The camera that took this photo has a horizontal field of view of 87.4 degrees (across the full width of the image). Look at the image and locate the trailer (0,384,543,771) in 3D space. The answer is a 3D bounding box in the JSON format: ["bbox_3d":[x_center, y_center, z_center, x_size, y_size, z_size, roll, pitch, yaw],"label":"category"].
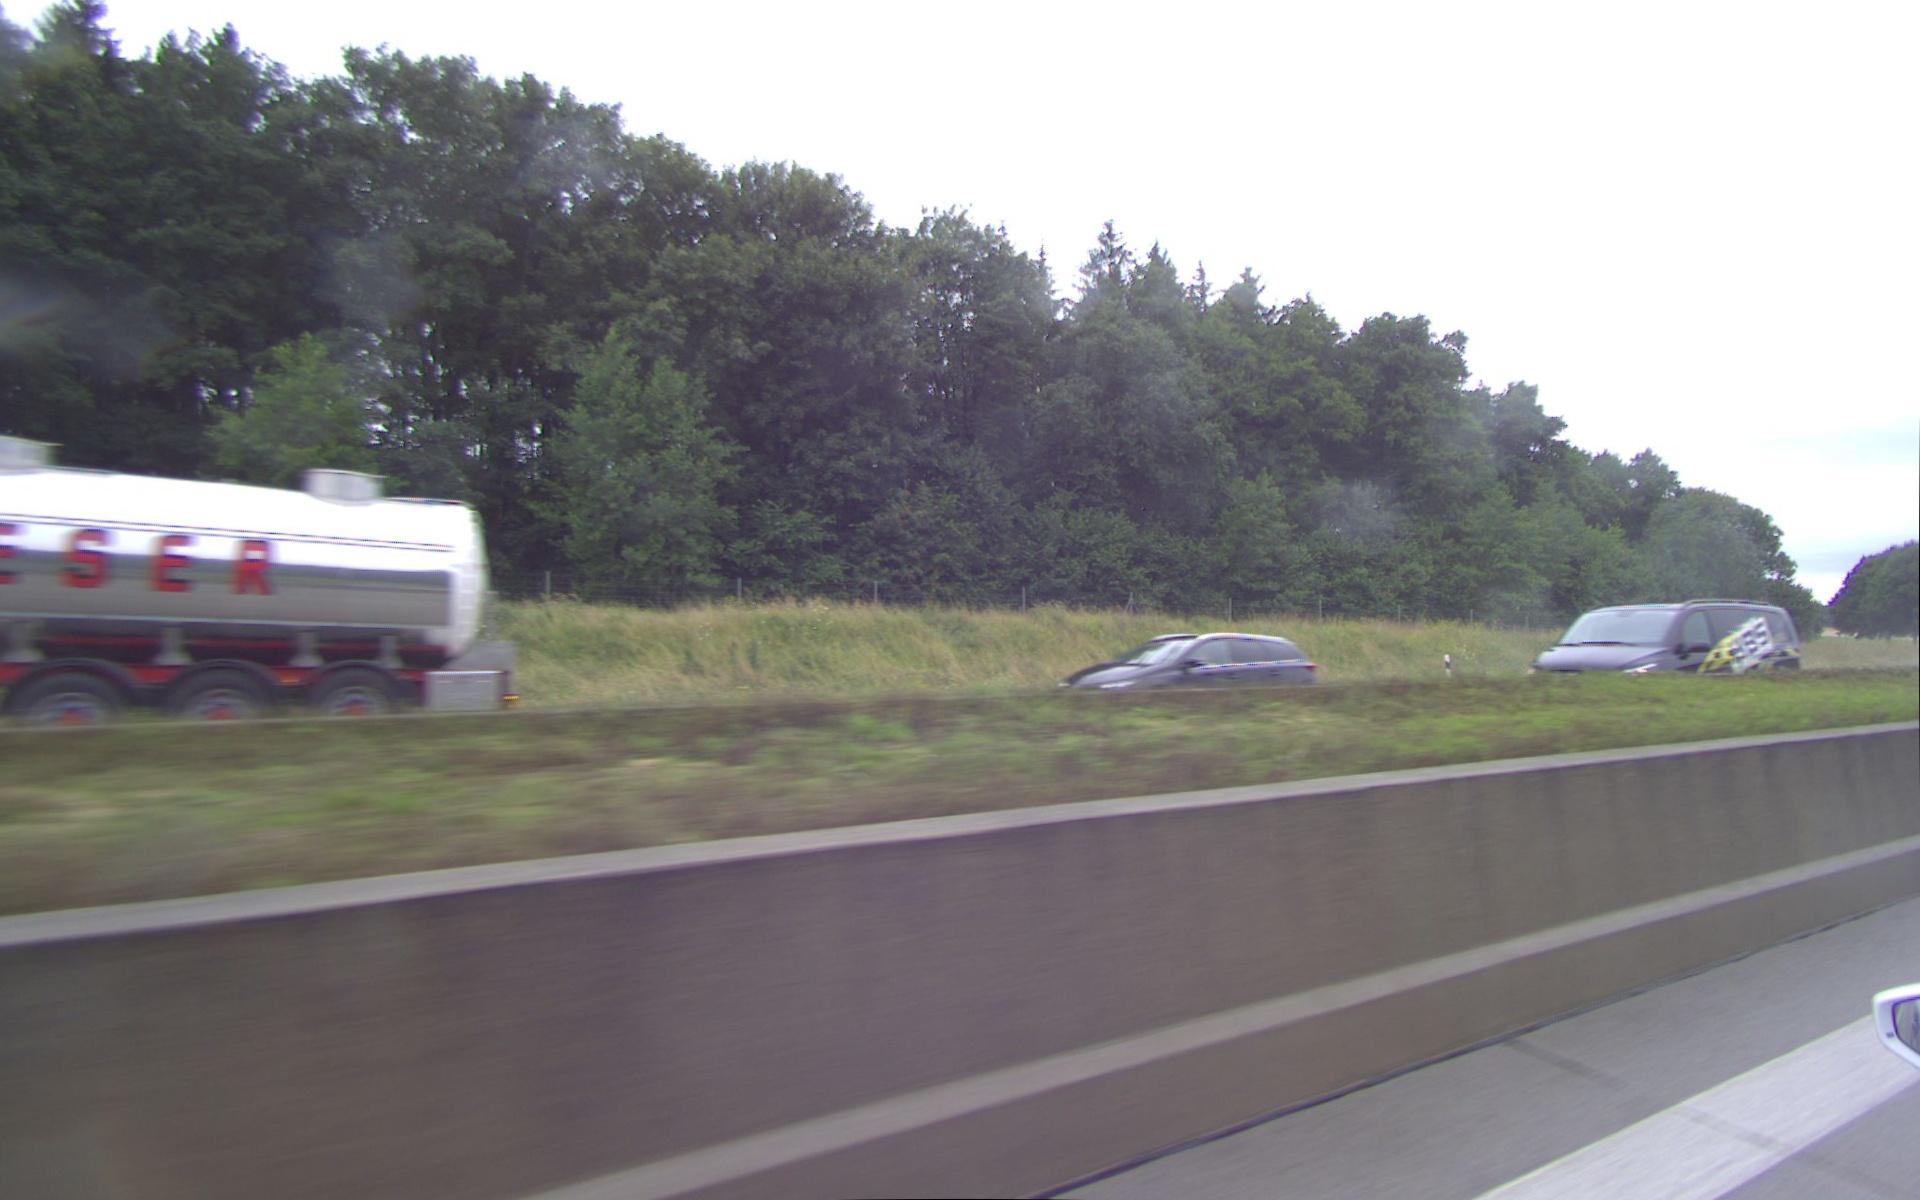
[{"bbox_3d":[-10.857,-0.214,11.462,11.008,4.024,2.651,1,-2,-31],"label":"trailer"}]

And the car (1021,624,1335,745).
[{"bbox_3d":[3.330,1.167,15.097,4.508,1.563,1.984,2,-2,-31],"label":"car"}]

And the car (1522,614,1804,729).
[{"bbox_3d":[11.057,1.040,15.739,4.508,1.563,1.984,1,-2,-31],"label":"car"}]
